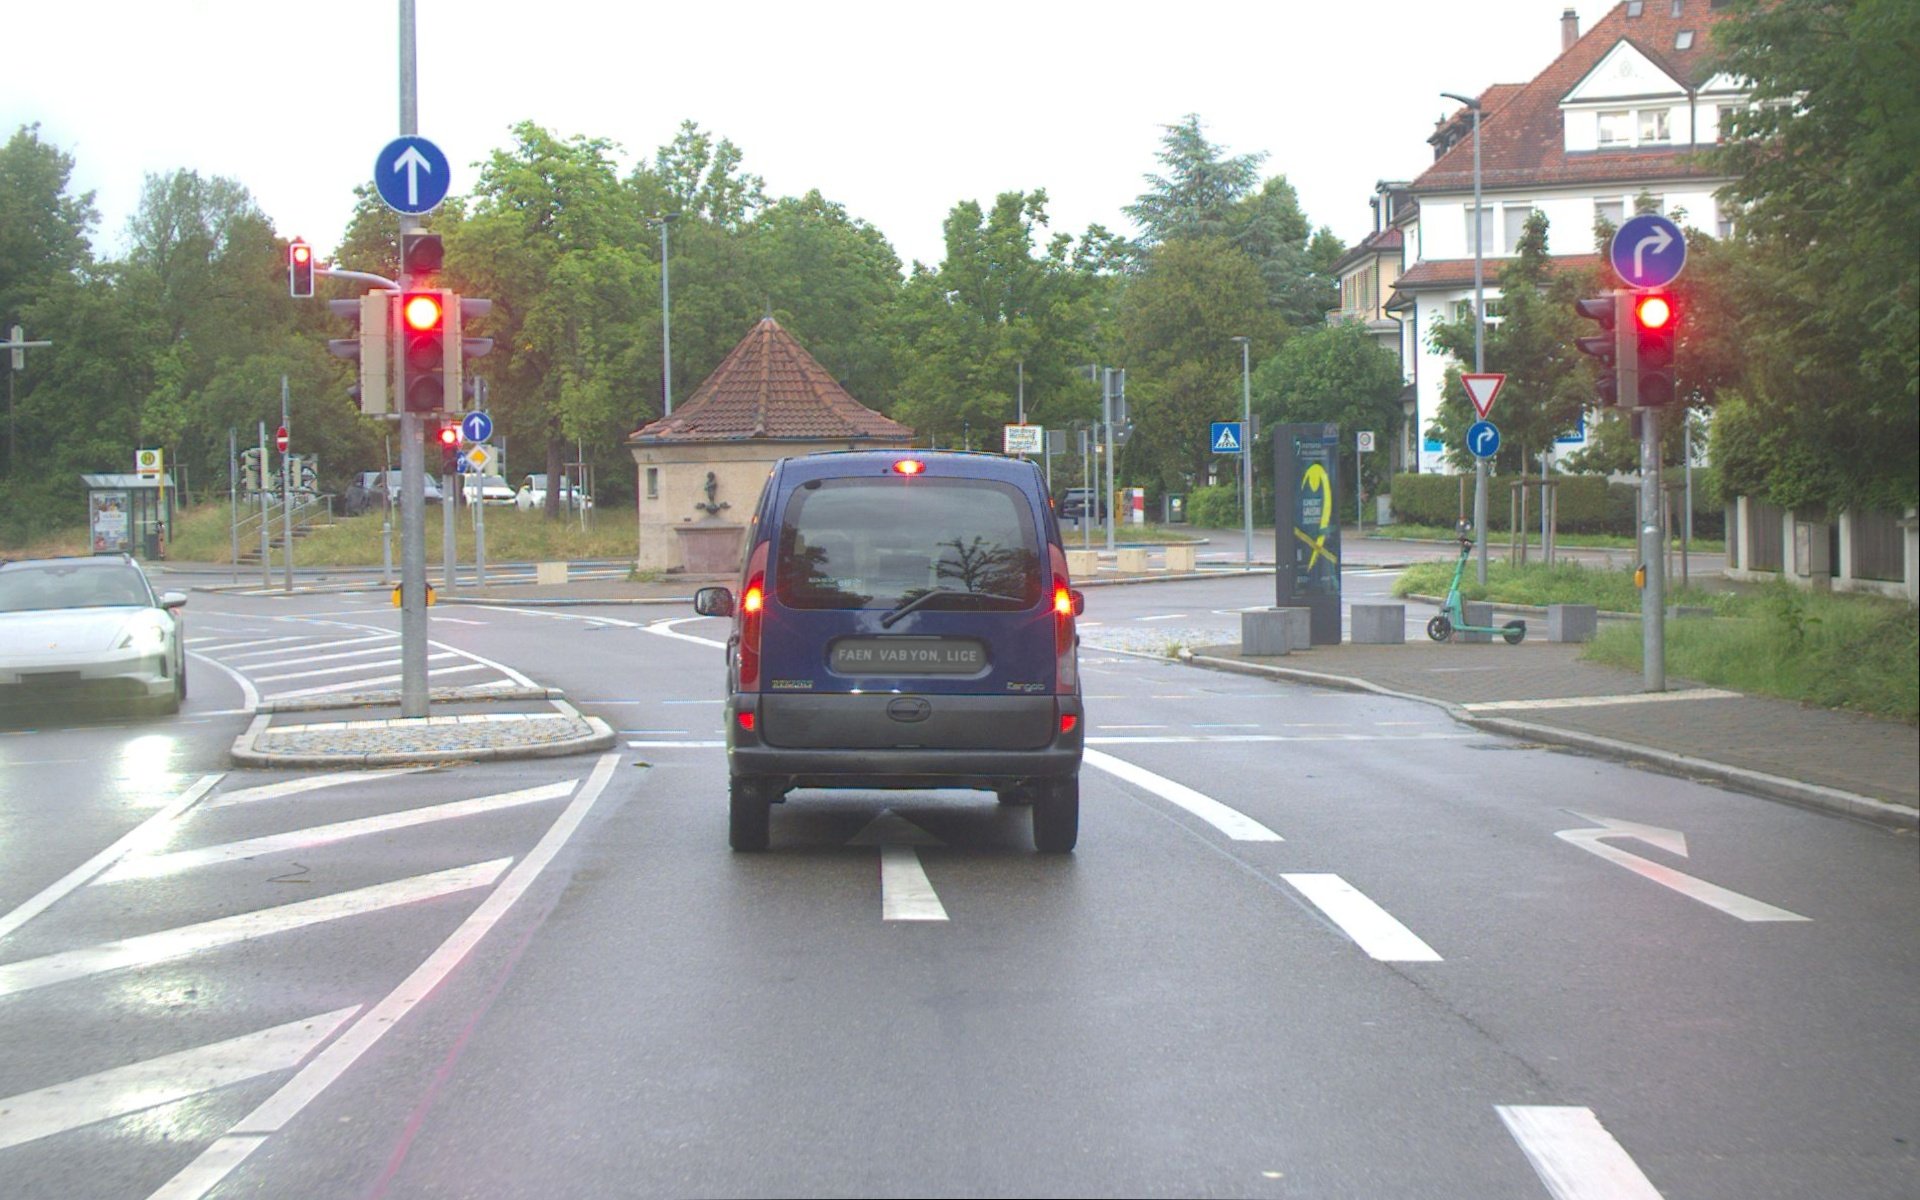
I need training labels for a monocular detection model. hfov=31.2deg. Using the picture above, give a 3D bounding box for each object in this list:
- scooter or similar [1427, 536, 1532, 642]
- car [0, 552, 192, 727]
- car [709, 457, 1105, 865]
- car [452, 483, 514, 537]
[{"bbox_3d":[6.048,-0.126,40.041,1.149,1.214,0.406,0,0,-2],"label":"scooter or similar"},{"bbox_3d":[-7.873,0.310,30.341,1.993,1.307,4.361,-4,2,-12],"label":"car"},{"bbox_3d":[-0.350,0.218,17.048,1.731,1.780,4.001,0,1,-3],"label":"car"},{"bbox_3d":[-16.849,-3.166,121.504,1.993,1.806,4.001,0,0,-5],"label":"car"}]
